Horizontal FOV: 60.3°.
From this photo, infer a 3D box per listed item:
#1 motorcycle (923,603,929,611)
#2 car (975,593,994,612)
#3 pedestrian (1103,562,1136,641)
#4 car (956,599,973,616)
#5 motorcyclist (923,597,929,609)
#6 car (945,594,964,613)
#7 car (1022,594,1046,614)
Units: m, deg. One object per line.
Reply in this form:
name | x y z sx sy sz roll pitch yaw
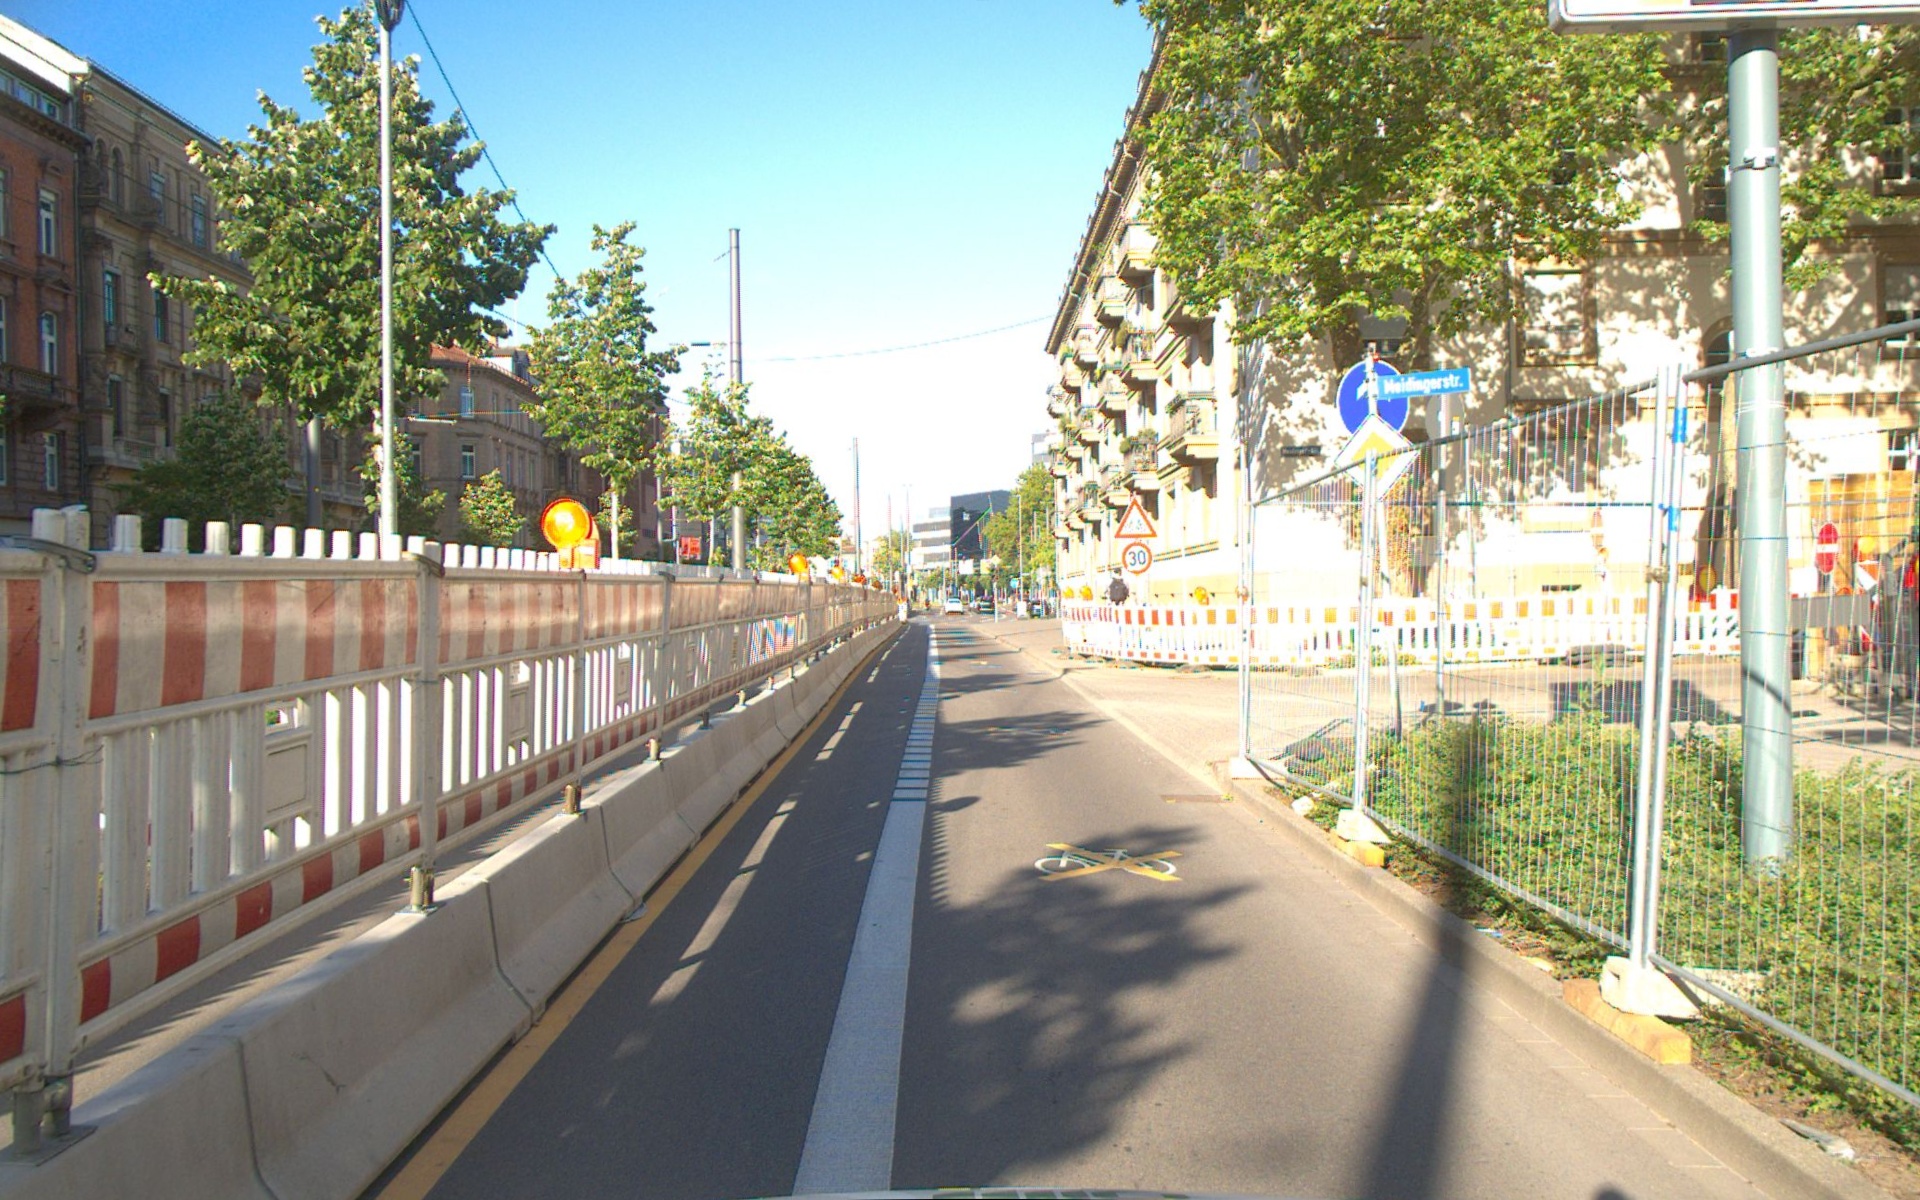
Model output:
motorcycle | -3.863 0.817 189.661 0.618 0.912 1.620 -1 0 -1
car | 2.504 0.206 169.797 1.845 1.875 3.667 -1 0 -1
pedestrian | 3.654 0.024 37.941 0.655 1.776 0.778 -1 0 -1
car | 0.501 0.846 194.850 1.845 1.875 3.667 -1 0 -1
motorcyclist | -3.878 0.330 189.734 0.618 1.285 0.605 -1 0 -1
car | -0.553 0.343 163.141 1.845 1.875 3.667 -1 0 -1
car | 6.294 0.303 140.905 1.844 1.617 3.667 -1 0 0
